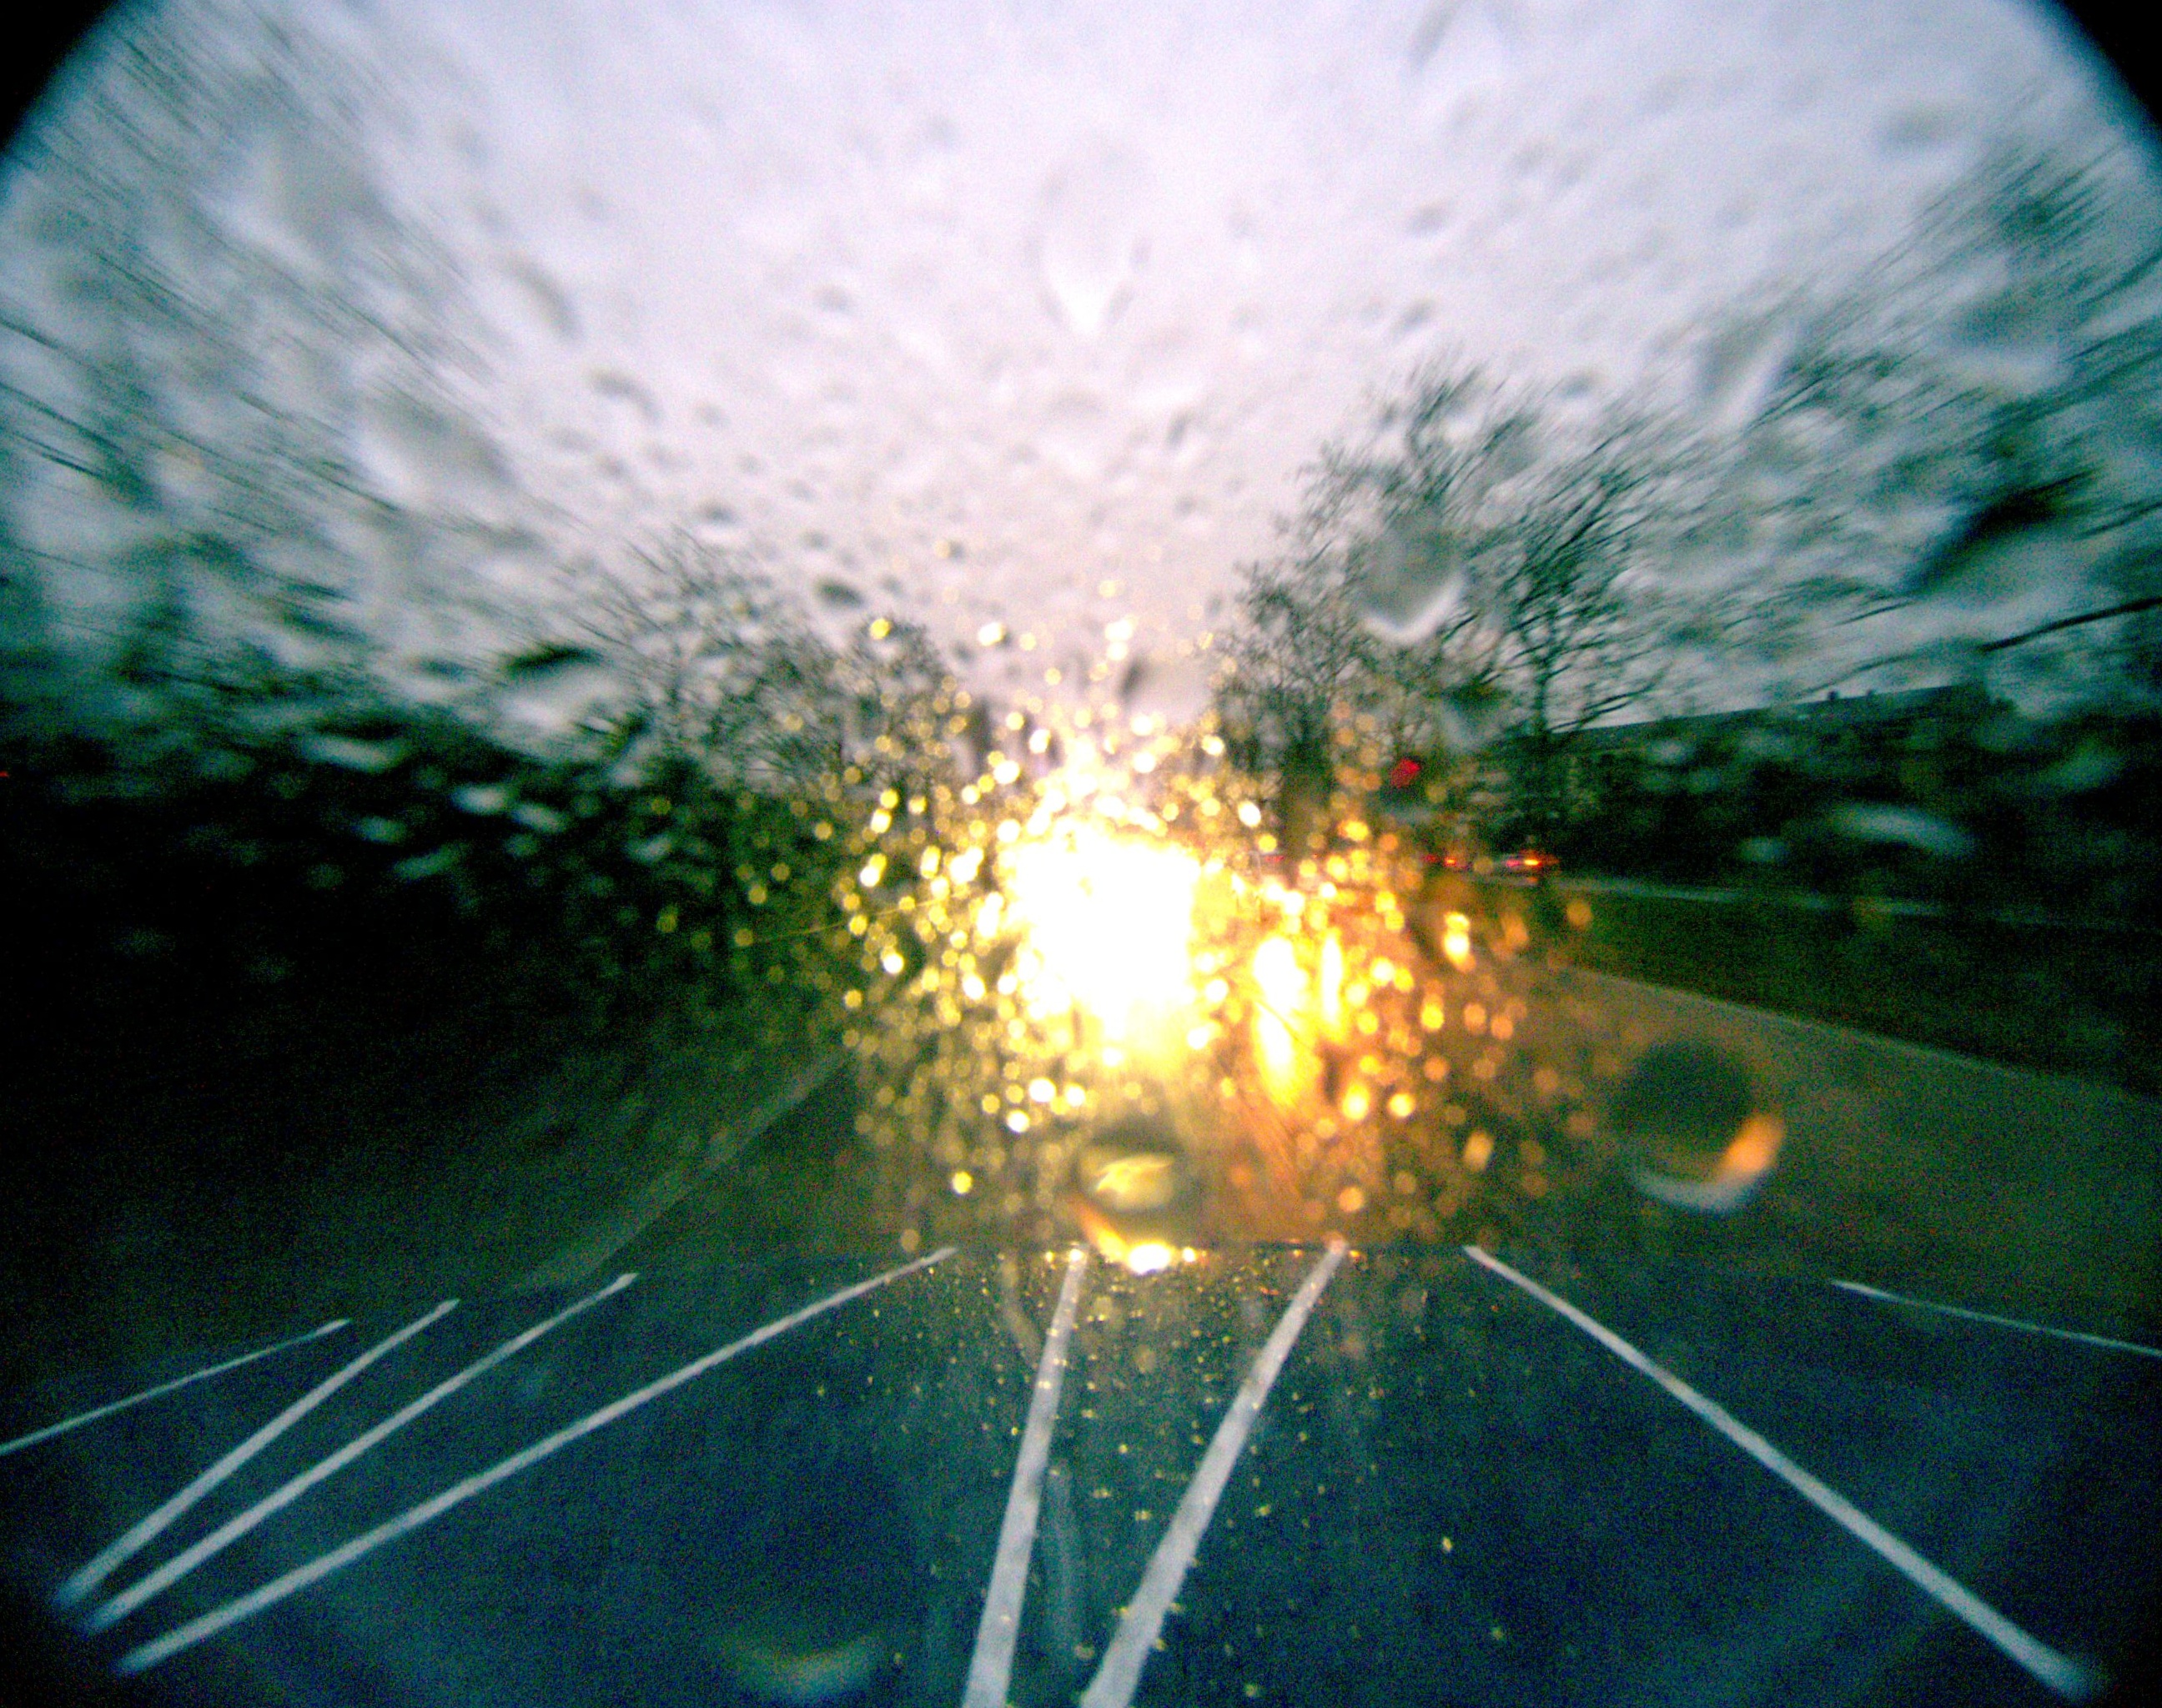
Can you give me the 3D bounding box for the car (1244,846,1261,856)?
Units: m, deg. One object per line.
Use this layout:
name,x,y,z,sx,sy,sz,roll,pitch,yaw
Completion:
car,25.613,-0.449,113.561,1.653,1.346,3.956,-1,1,2

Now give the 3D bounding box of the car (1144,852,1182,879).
car,5.081,0.691,47.723,2.026,1.522,4.145,-1,1,1

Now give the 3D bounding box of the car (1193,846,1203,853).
car,25.071,-0.991,162.802,1.573,1.495,4.000,-2,1,2

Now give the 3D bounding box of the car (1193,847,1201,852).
car,28.331,-1.125,186.310,1.541,1.285,4.000,-1,1,3

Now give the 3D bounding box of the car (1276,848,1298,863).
car,23.767,0.175,87.812,1.621,1.672,3.981,-1,0,2

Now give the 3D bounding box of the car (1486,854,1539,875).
car,29.606,0.680,52.248,1.582,1.294,4.104,-1,1,4

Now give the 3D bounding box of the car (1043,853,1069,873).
car,-1.942,0.669,59.449,1.728,1.426,3.791,-1,1,2

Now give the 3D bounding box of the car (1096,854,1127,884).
car,1.819,0.857,44.862,1.728,1.573,3.791,-1,1,3

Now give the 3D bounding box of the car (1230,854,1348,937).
car,4.600,0.835,17.386,1.765,1.590,4.165,-1,1,3

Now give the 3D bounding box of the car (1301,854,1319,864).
car,32.256,0.696,107.175,1.752,1.387,4.301,-1,1,7

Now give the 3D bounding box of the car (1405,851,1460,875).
car,22.049,0.540,47.864,1.752,1.417,3.978,-1,1,2

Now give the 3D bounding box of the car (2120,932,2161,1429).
car,3.907,0.950,0.140,1.728,1.432,4.226,0,0,2

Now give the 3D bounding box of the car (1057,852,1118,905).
car,0.289,0.750,25.073,1.830,1.524,4.000,-1,1,2

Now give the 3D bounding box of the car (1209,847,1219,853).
car,27.419,-0.860,156.913,1.541,1.320,3.956,-1,1,3

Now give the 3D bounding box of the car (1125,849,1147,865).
car,4.783,0.251,66.762,1.697,1.327,4.000,-2,1,2

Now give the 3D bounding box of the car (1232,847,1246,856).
car,26.031,-0.431,125.377,1.653,1.491,3.956,-1,1,3

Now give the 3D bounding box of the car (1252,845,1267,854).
car,30.576,-0.756,130.411,1.722,1.480,4.272,-1,1,2
